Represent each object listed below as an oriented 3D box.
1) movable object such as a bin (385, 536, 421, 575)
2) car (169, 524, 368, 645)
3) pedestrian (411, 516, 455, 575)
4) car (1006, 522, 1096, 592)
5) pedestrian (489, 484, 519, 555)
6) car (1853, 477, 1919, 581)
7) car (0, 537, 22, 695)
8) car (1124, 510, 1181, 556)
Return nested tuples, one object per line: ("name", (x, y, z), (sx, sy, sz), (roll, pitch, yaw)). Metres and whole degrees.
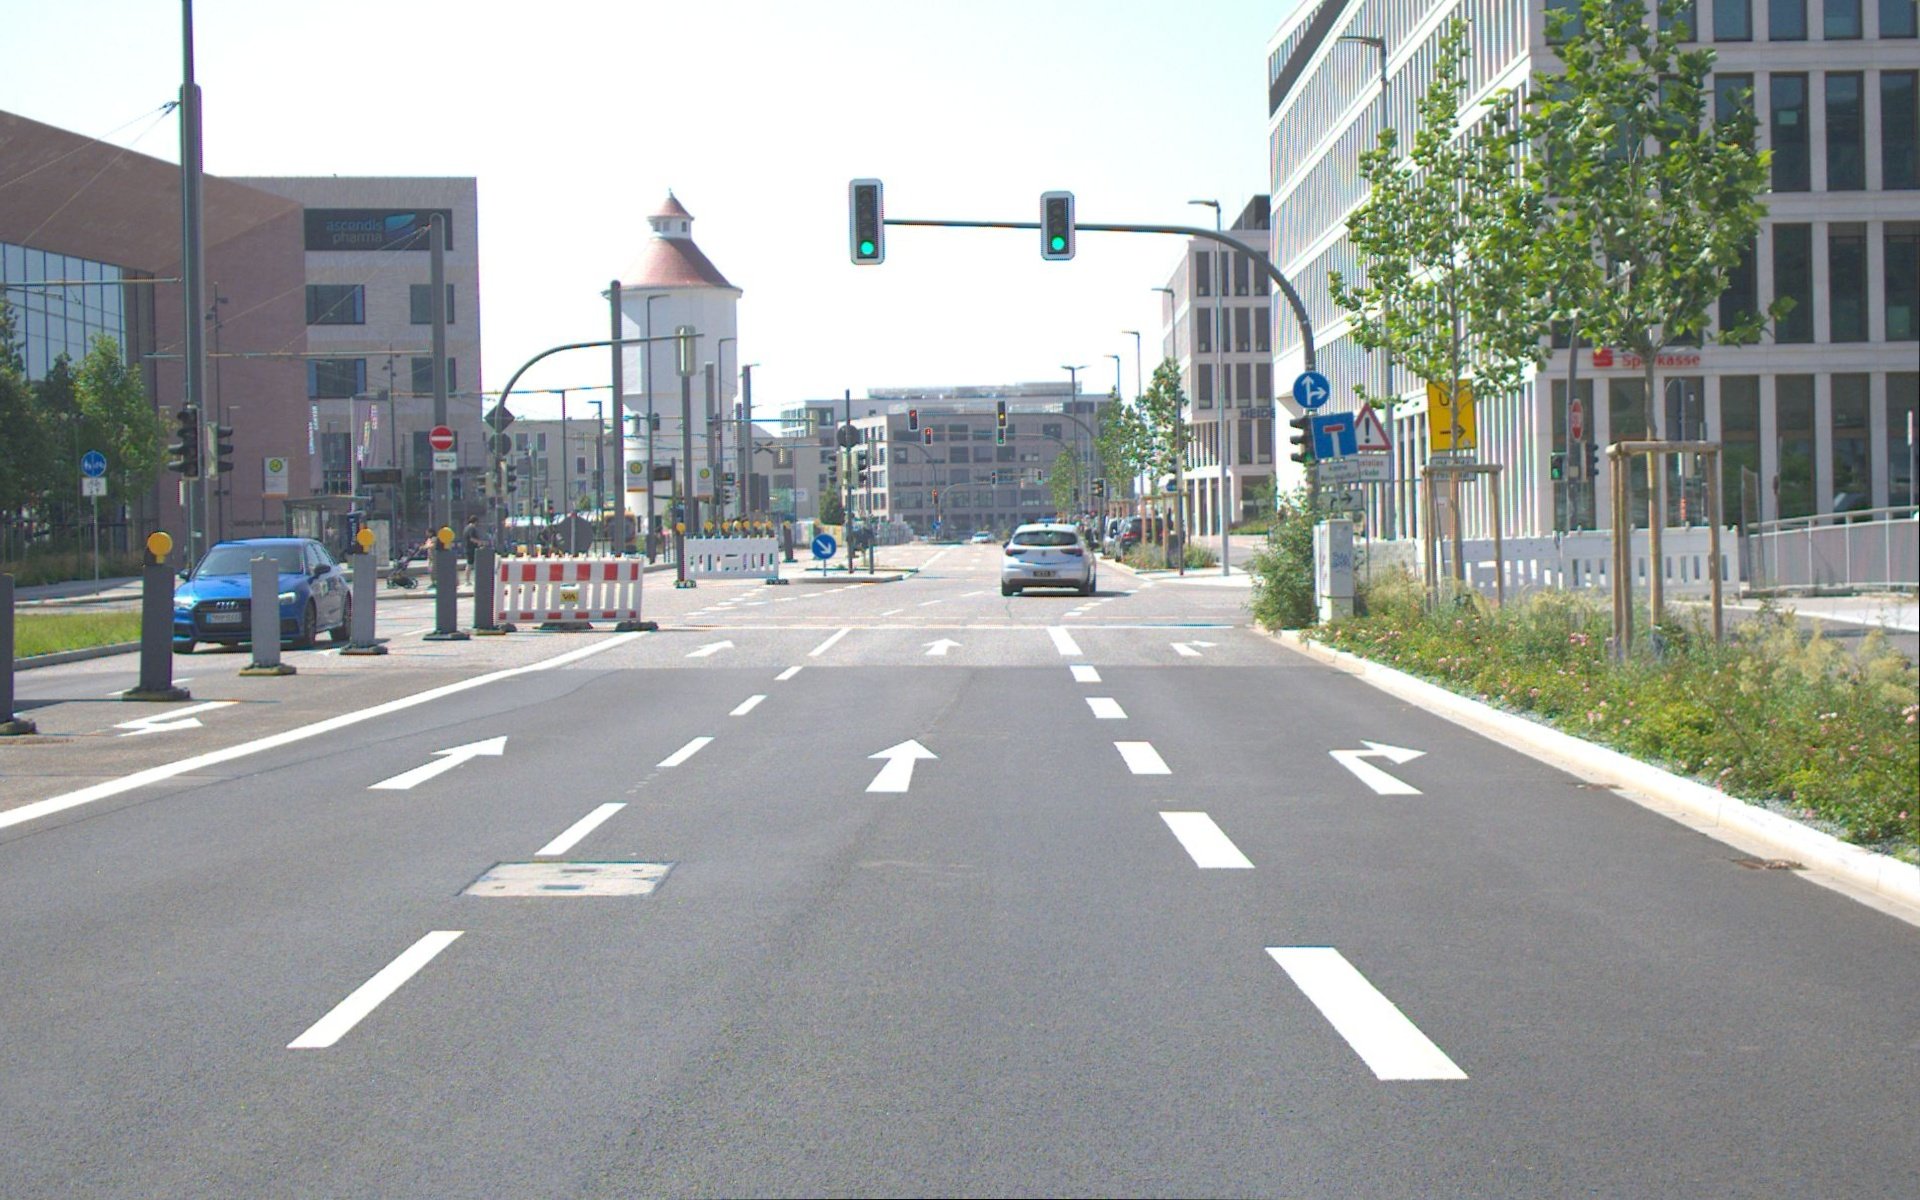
("movable object such as a bin", (-14.765, -1.177, 91.105), (0.713, 1.028, 0.794), (-1, 2, -27))
("car", (-8.884, -0.241, 44.494), (1.628, 1.422, 4.290), (-2, 1, 1))
("pedestrian", (-14.021, -1.458, 91.475), (0.929, 1.557, 0.794), (-1, 2, -27))
("car", (1.885, -0.871, 70.484), (1.772, 1.390, 3.531), (1, 0, 3))
("pedestrian", (-11.839, -2.085, 89.267), (0.653, 1.827, 0.661), (0, 2, 5))
("car", (23.105, -1.532, 76.523), (5.837, 2.262, 2.146), (1, 1, 1))
("car", (-9.357, 0.187, 29.305), (1.580, 1.411, 3.999), (-2, 1, 0))
("car", (6.436, -2.227, 114.688), (1.737, 1.469, 3.979), (0, 1, 5))
